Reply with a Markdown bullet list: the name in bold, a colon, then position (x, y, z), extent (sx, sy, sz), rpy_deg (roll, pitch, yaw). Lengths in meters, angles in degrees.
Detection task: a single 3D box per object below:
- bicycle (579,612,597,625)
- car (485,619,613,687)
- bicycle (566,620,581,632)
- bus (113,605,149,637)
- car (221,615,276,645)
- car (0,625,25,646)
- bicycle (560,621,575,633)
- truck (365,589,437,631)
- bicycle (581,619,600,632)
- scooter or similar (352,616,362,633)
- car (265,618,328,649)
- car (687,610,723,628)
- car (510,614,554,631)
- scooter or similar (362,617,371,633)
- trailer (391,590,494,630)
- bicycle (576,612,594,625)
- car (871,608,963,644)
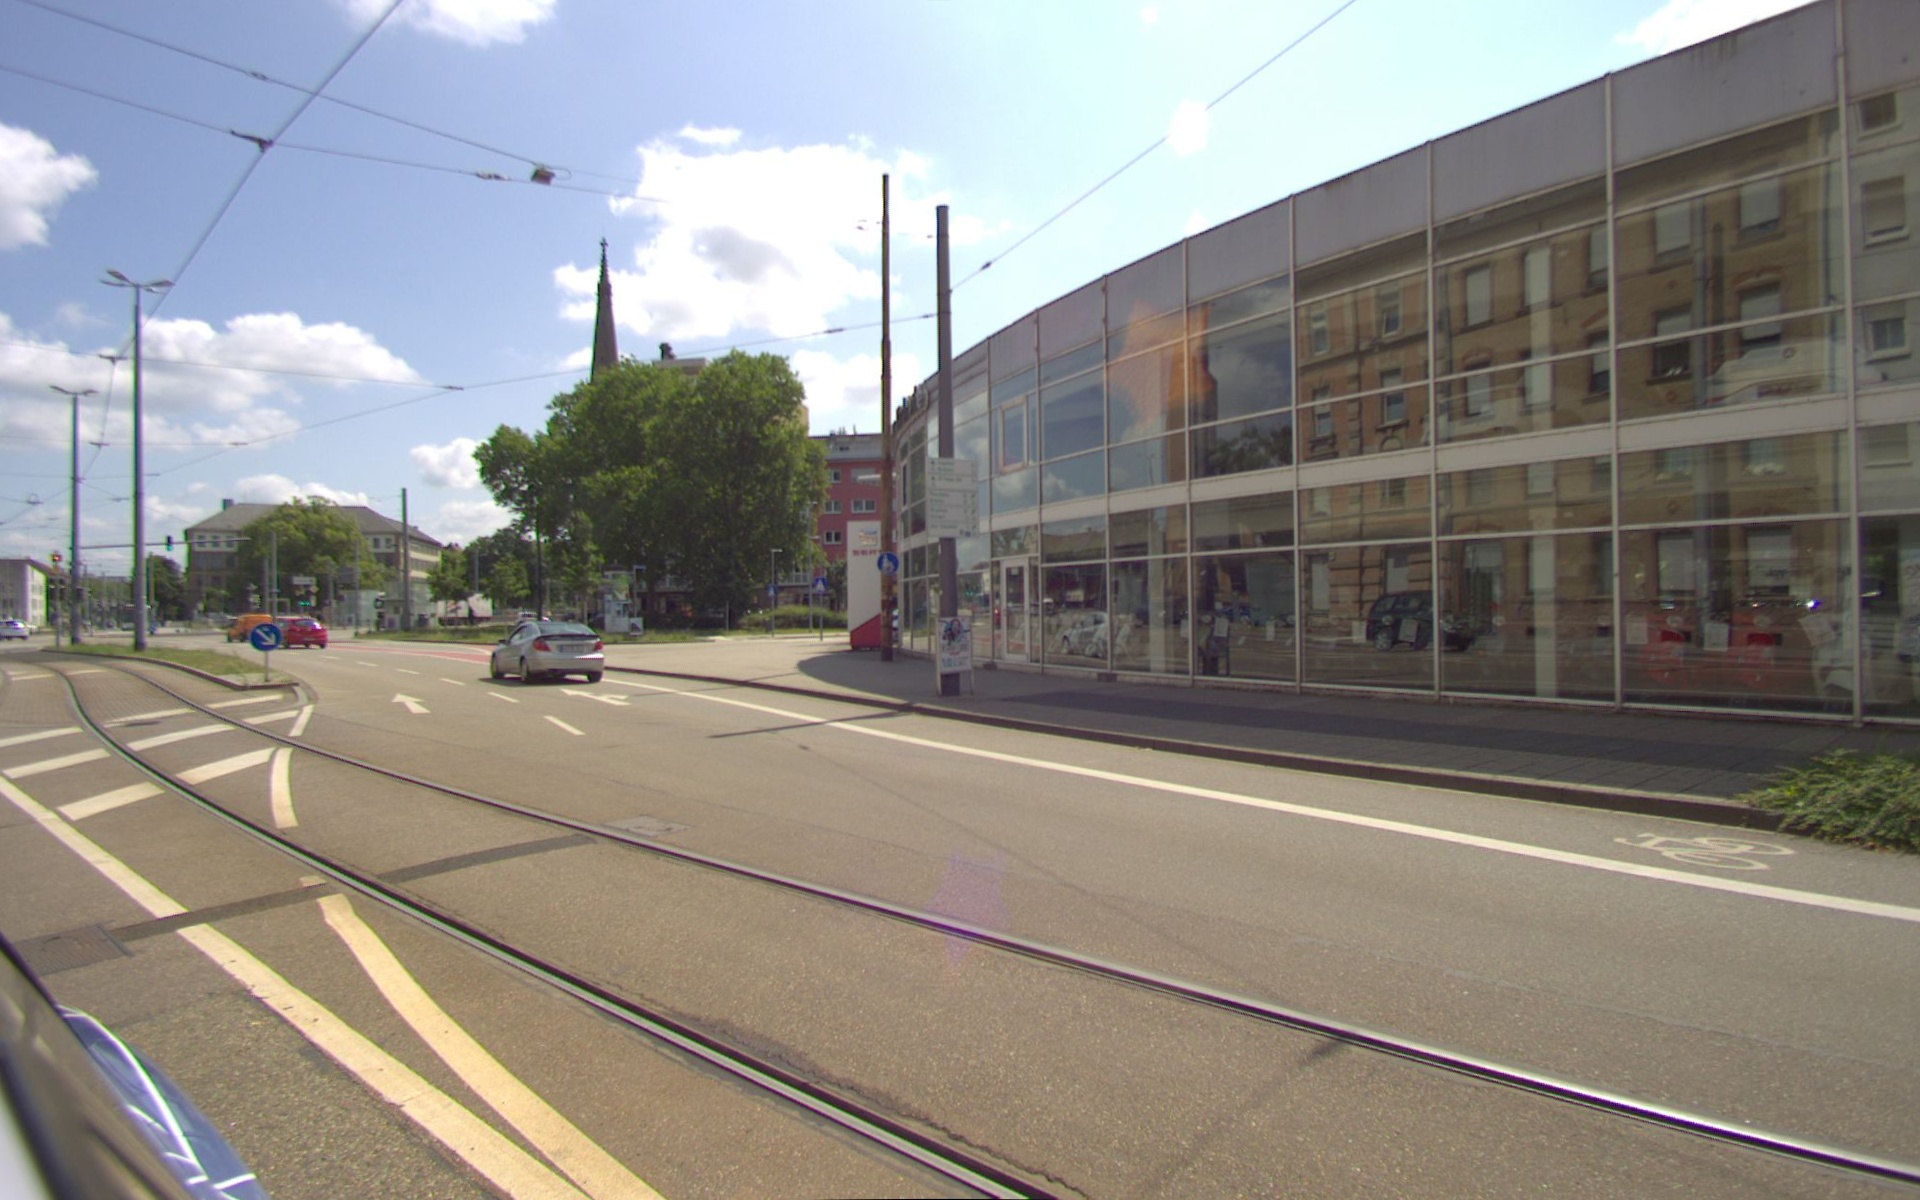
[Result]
- **bicycle**: position (-34.894, 1.712, 94.978), extent (1.584, 1.176, 0.492), rpy_deg (-2, 0, 10)
- **car**: position (-9.676, 1.165, 23.650), extent (1.790, 1.431, 4.197), rpy_deg (1, -2, -36)
- **bicycle**: position (-38.349, 2.626, 100.473), extent (1.258, 1.154, 0.458), rpy_deg (-2, -1, 6)
- **bus**: position (-93.713, 2.411, 114.501), extent (2.905, 3.473, 7.963), rpy_deg (-1, -1, -38)
- **car**: position (-47.027, 1.951, 66.906), extent (4.363, 1.880, 1.892), rpy_deg (-1, -1, 39)
- **car**: position (-75.946, 2.772, 80.118), extent (4.479, 1.616, 1.753), rpy_deg (-1, -2, 33)
- **bicycle**: position (-38.489, 2.609, 99.156), extent (1.258, 1.154, 0.458), rpy_deg (-2, -1, 6)
- **truck**: position (-58.444, 1.029, 106.008), extent (2.931, 4.150, 6.857), rpy_deg (-1, -1, 10)
- **bicycle**: position (-33.387, 2.288, 91.522), extent (1.584, 1.074, 0.492), rpy_deg (-2, 0, 10)
- **scooter or similar**: position (-42.854, 1.765, 71.905), extent (0.549, 1.209, 0.456), rpy_deg (-2, -1, 40)
- **car**: position (-31.536, 1.576, 48.051), extent (3.903, 1.439, 1.683), rpy_deg (-2, -2, 44)
- **car**: position (-23.177, 1.739, 92.151), extent (1.858, 1.522, 3.922), rpy_deg (-2, -1, 8)
- **car**: position (-45.007, 2.332, 106.456), extent (4.102, 1.655, 1.634), rpy_deg (-1, -1, -31)
- **scooter or similar**: position (-42.594, 1.803, 72.628), extent (0.556, 1.133, 0.411), rpy_deg (-2, -1, 40)
- **trailer**: position (-57.334, 1.120, 112.772), extent (2.916, 4.107, 13.379), rpy_deg (-1, -1, 9)
- **bicycle**: position (-36.601, 1.812, 98.703), extent (1.584, 1.274, 0.492), rpy_deg (-2, 0, 10)
- **car**: position (-1.879, 1.146, 44.996), extent (3.897, 1.457, 1.832), rpy_deg (-1, 0, 5)
